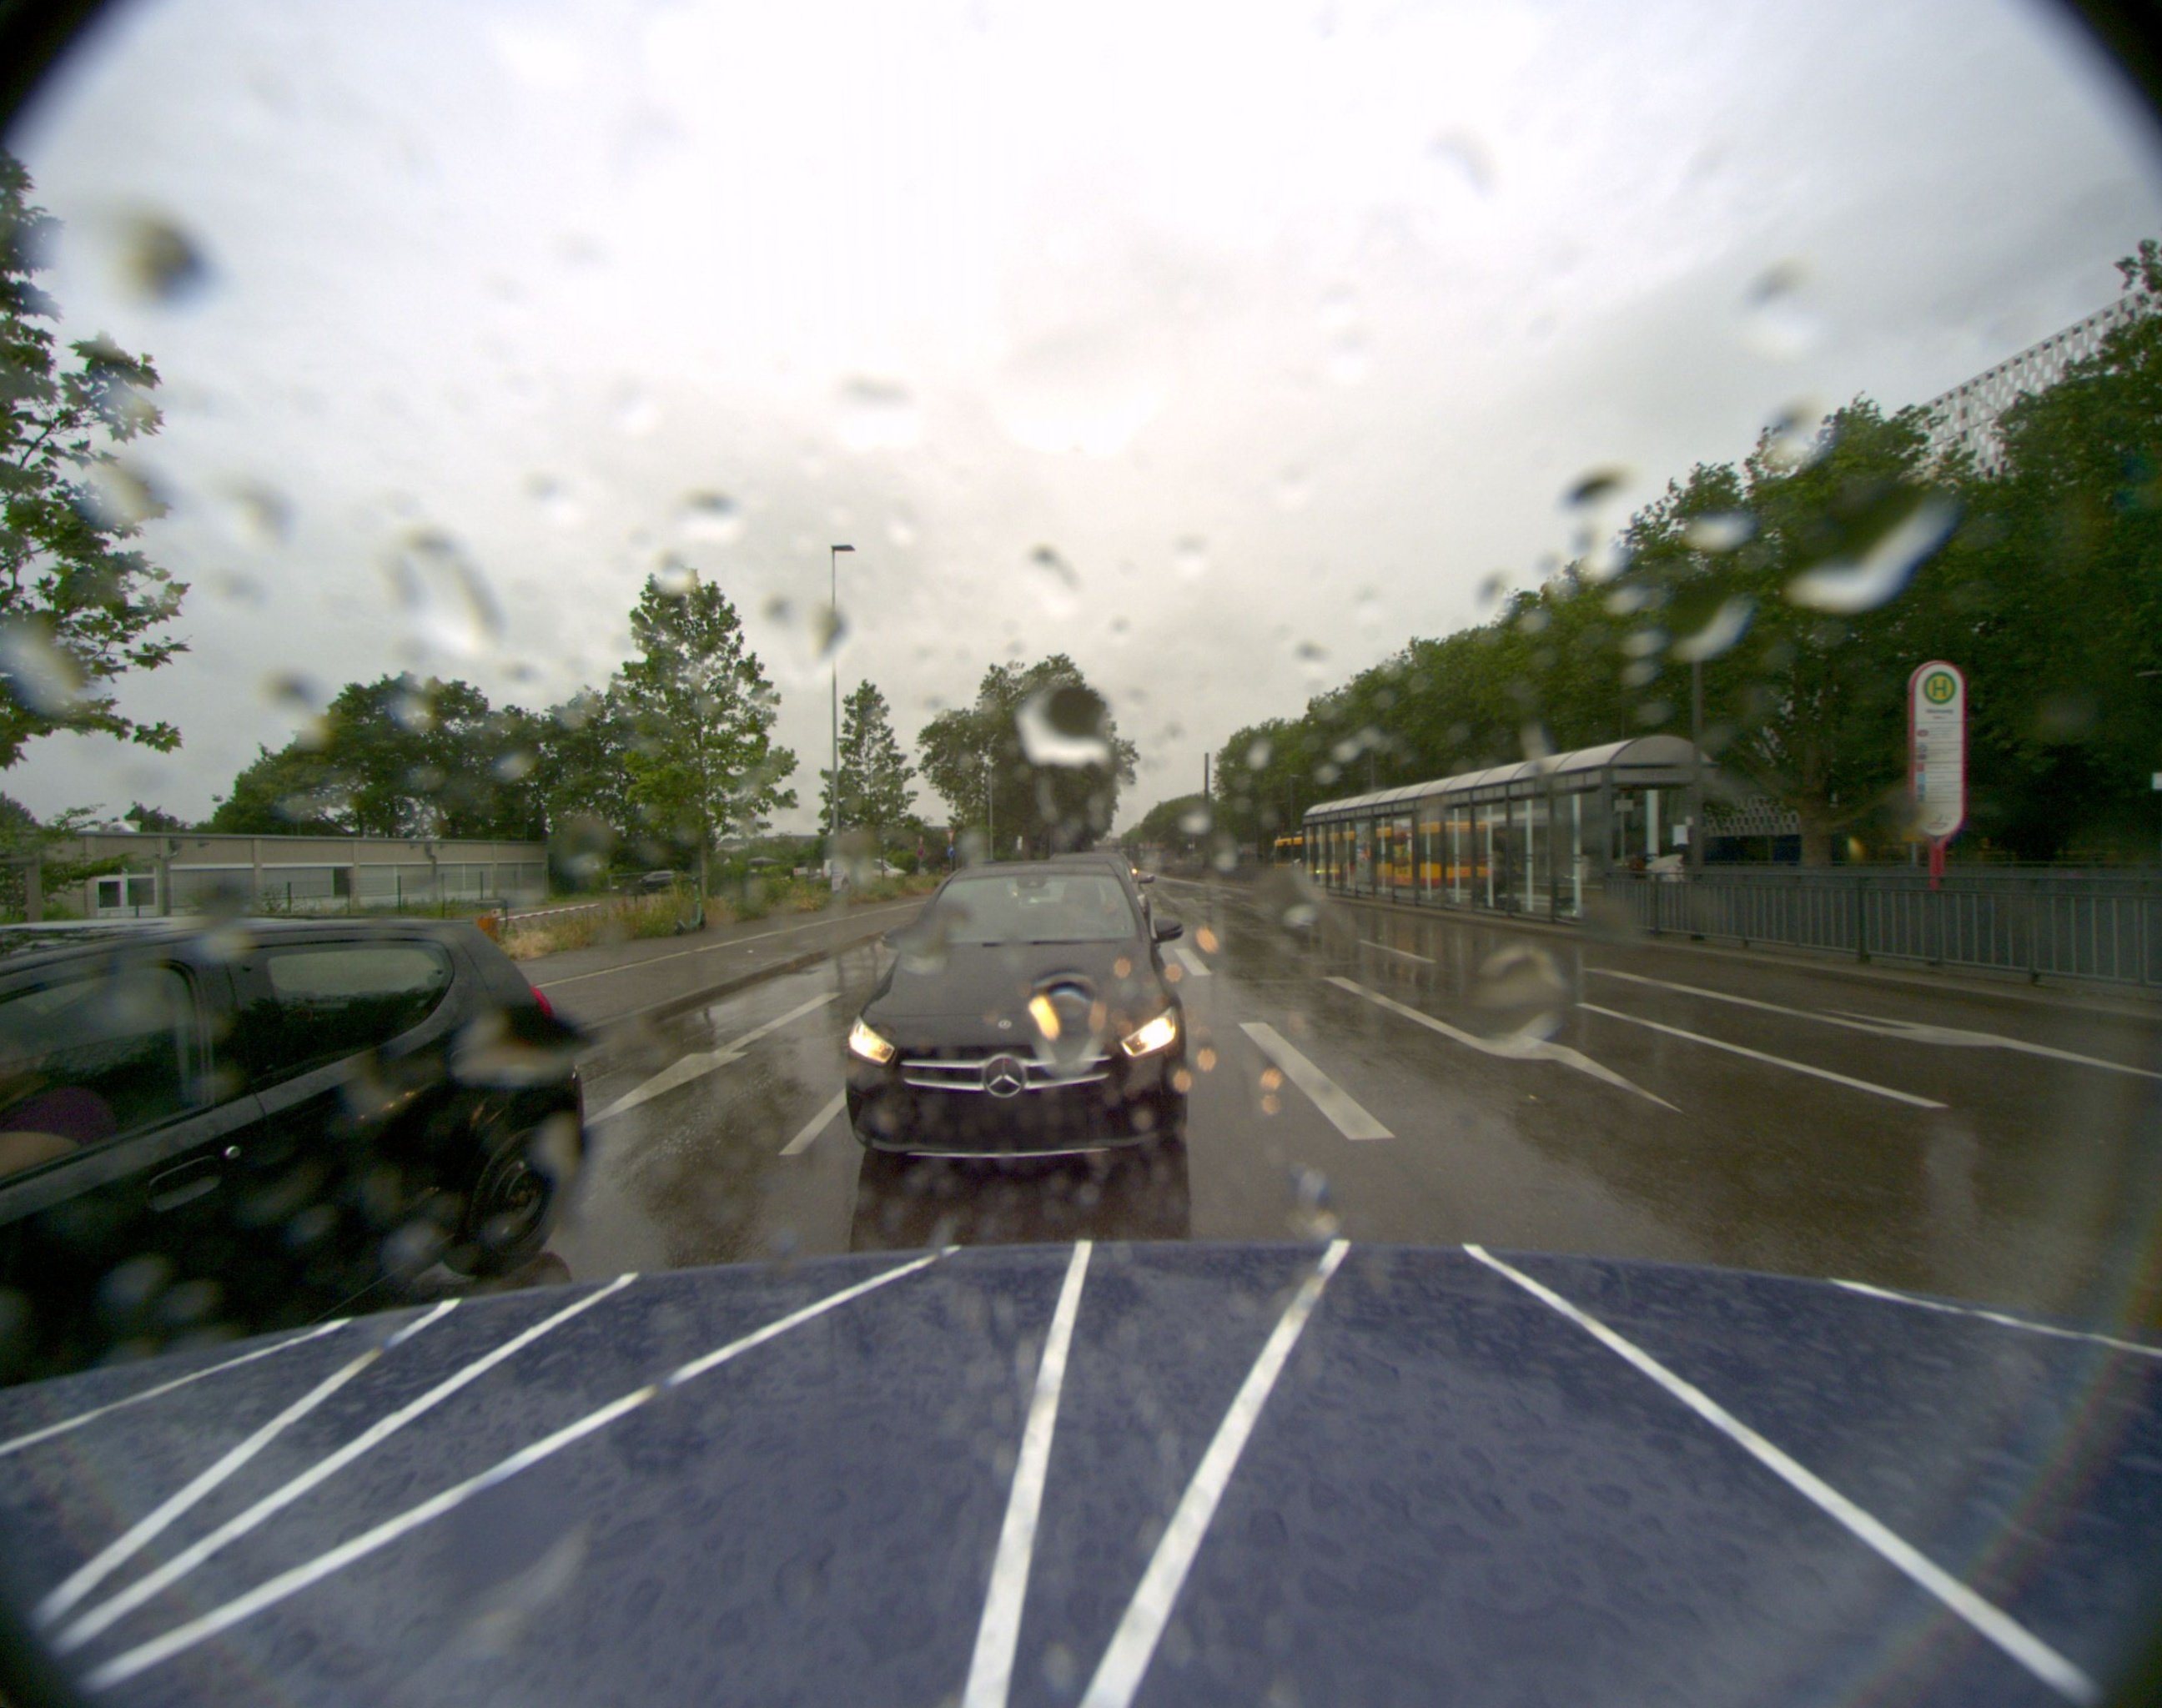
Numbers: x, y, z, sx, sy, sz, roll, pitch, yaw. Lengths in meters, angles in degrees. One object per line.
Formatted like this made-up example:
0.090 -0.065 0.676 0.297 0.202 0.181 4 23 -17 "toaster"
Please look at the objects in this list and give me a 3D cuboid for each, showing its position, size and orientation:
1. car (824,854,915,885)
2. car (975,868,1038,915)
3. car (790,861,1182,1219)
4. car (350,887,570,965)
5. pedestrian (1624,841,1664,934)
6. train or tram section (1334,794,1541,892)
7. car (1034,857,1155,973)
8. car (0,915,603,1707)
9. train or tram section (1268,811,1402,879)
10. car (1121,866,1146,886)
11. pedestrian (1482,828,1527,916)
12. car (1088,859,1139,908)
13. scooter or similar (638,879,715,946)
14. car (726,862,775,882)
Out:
-13.366 0.972 48.207 5.174 1.715 2.006 -3 1 -1 "car"
-2.428 1.200 25.497 1.617 1.301 3.717 -3 0 1 "car"
-0.224 0.872 5.521 1.758 1.572 4.171 -2 0 6 "car"
-12.026 1.378 14.808 3.243 1.281 1.345 -3 1 6 "car"
9.178 0.532 12.390 0.321 1.485 0.415 -3 2 6 "pedestrian"
16.616 -0.487 37.308 3.751 3.817 13.253 -3 0 0 "train or tram section"
0.248 0.866 12.736 1.689 1.611 4.000 -1 0 2 "car"
-2.971 1.043 1.604 1.557 1.500 3.618 -2 0 1 "car"
16.615 -0.592 51.749 3.751 3.777 15.569 -3 0 0 "train or tram section"
3.755 1.560 55.026 1.557 1.301 3.717 -3 0 1 "car"
9.291 0.379 16.678 0.655 1.860 0.773 -2 1 17 "pedestrian"
1.075 0.987 26.991 1.557 1.541 3.717 -3 0 0 "car"
-8.188 1.157 15.468 0.367 1.192 1.913 -2 1 4 "scooter or similar"
-28.233 1.534 65.003 3.552 1.574 1.345 -3 1 6 "car"
